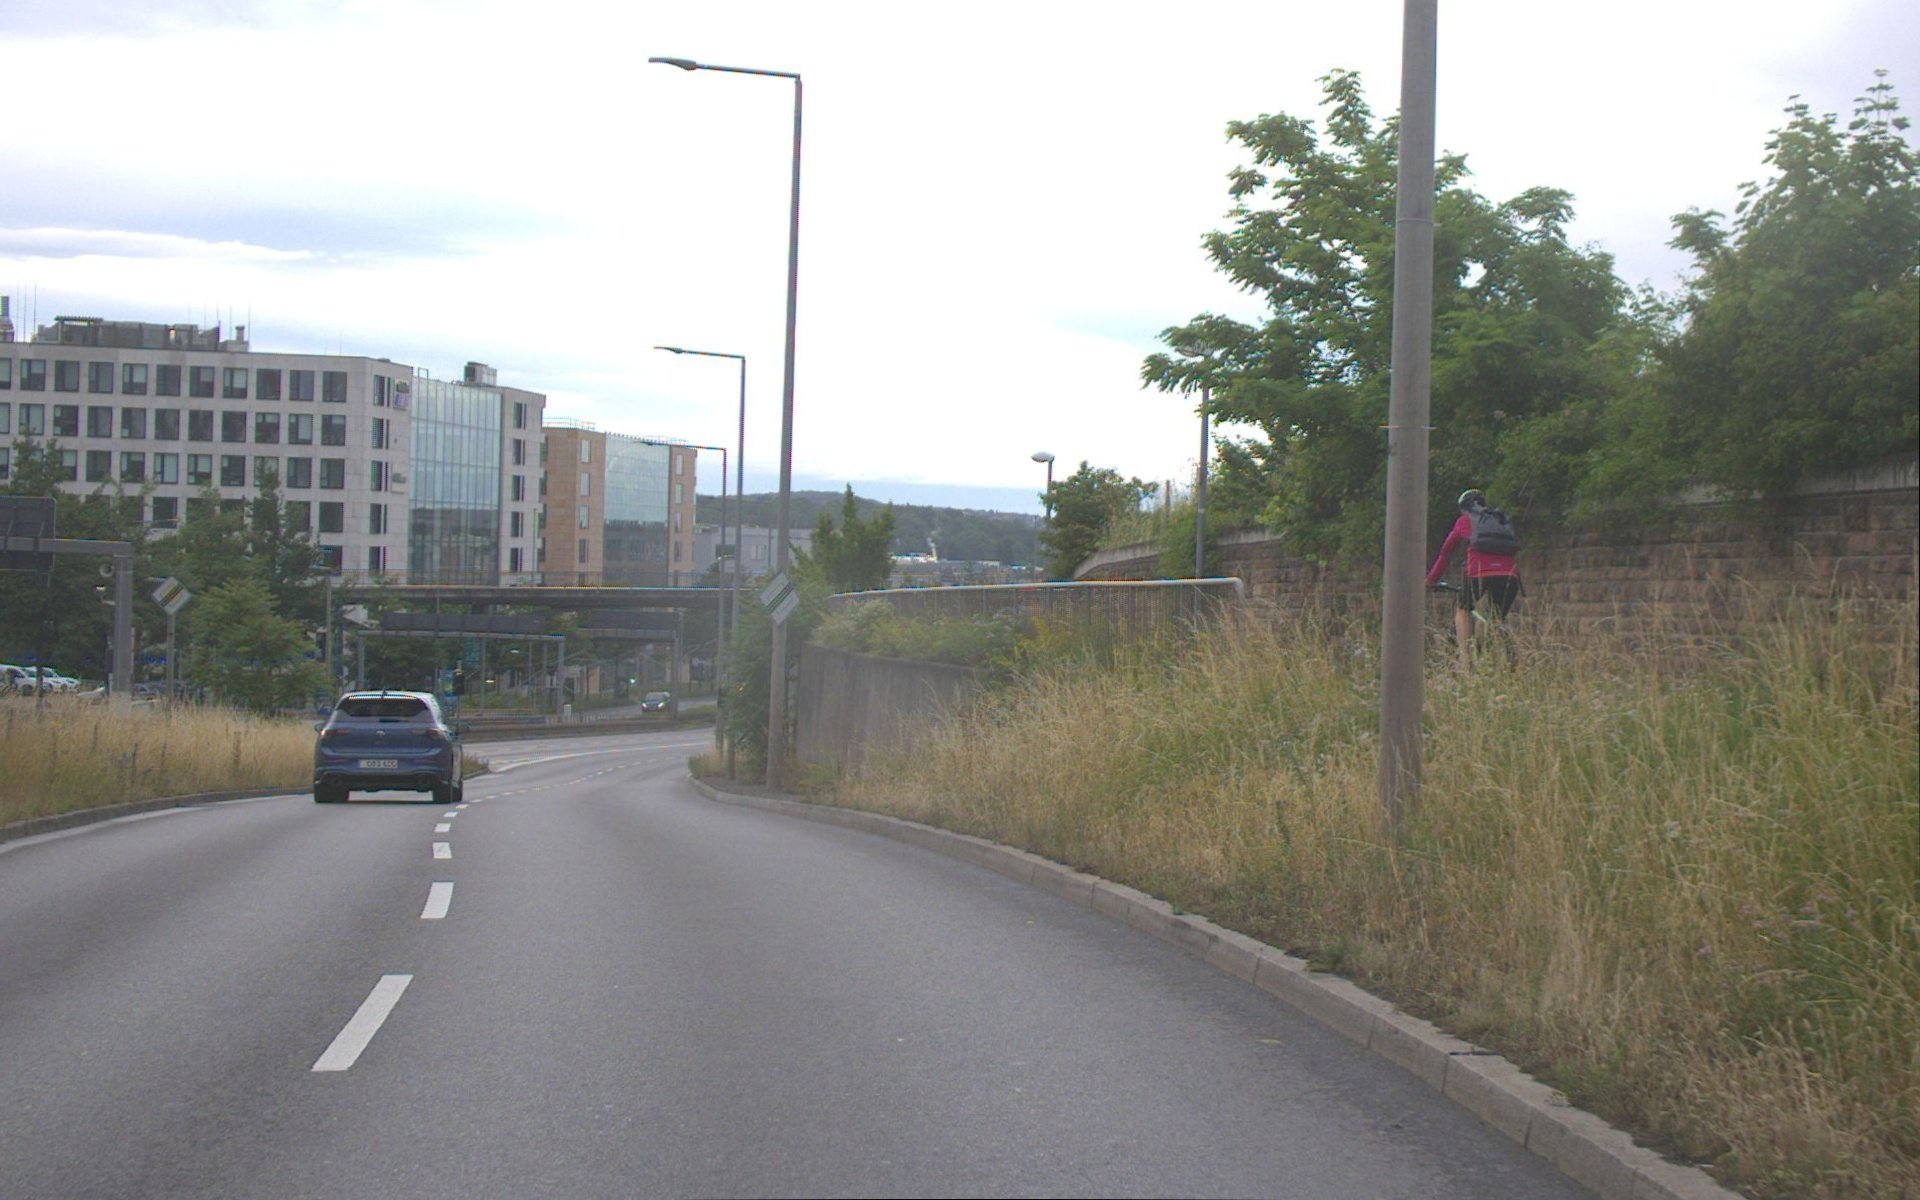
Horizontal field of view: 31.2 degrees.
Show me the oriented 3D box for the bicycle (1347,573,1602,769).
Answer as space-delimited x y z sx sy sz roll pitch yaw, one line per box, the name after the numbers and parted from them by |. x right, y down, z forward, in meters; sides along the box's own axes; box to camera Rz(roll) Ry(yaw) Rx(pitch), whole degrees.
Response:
3.792 0.484 25.765 0.869 1.284 3.488 4 1 -8 | bicycle

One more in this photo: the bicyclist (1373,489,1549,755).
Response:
3.755 0.157 25.865 0.869 1.902 1.294 4 0 -8 | bicyclist

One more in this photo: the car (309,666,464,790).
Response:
-7.451 1.647 44.914 1.748 1.415 3.479 1 1 -6 | car
